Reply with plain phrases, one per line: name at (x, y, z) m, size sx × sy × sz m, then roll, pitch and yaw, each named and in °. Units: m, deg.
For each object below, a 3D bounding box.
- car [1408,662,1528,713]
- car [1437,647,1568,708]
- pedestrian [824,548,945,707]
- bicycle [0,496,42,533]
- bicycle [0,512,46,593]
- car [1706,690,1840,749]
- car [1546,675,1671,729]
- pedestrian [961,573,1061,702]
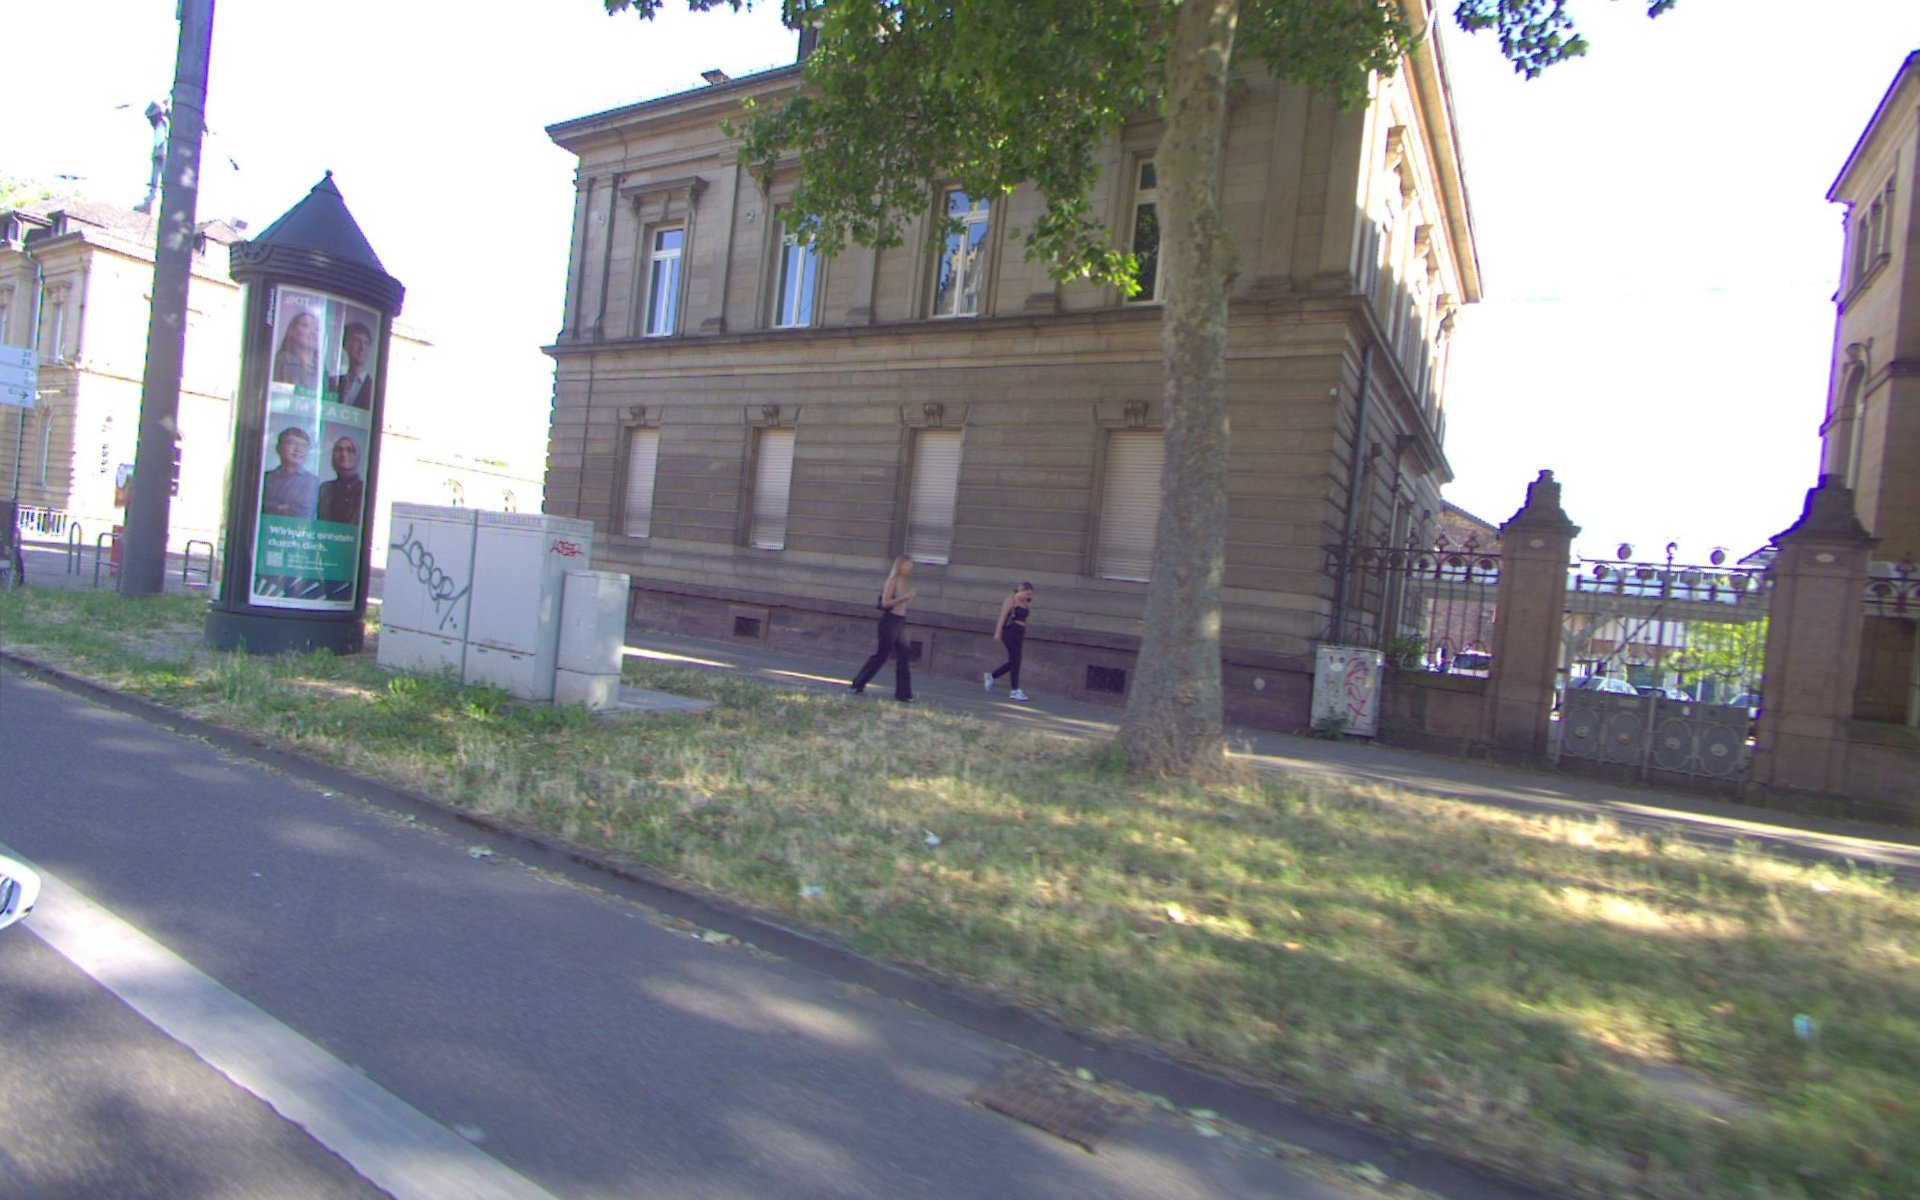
car at (18.192, 3.135, 35.992) m, size 4.036 × 1.438 × 1.760 m, roll 6°, pitch 1°, yaw -29°
car at (16.825, 2.414, 31.177) m, size 3.959 × 1.505 × 1.800 m, roll 6°, pitch 1°, yaw -33°
pedestrian at (-0.893, 0.312, 11.889) m, size 1.025 × 1.731 × 0.770 m, roll 6°, pitch 1°, yaw 32°
bicycle at (-34.461, -3.132, 36.064) m, size 0.752 × 1.225 × 2.139 m, roll 7°, pitch 2°, yaw 29°
bicycle at (-14.028, -0.736, 14.584) m, size 1.740 × 1.075 × 0.541 m, roll 6°, pitch 1°, yaw 28°
car at (25.193, 3.698, 31.144) m, size 4.036 × 1.438 × 1.760 m, roll 6°, pitch 1°, yaw -29°
car at (21.936, 3.456, 33.996) m, size 4.036 × 1.438 × 1.760 m, roll 6°, pitch 1°, yaw -29°
pedestrian at (0.707, 0.509, 13.802) m, size 0.970 × 1.627 × 0.770 m, roll 6°, pitch 1°, yaw 32°
